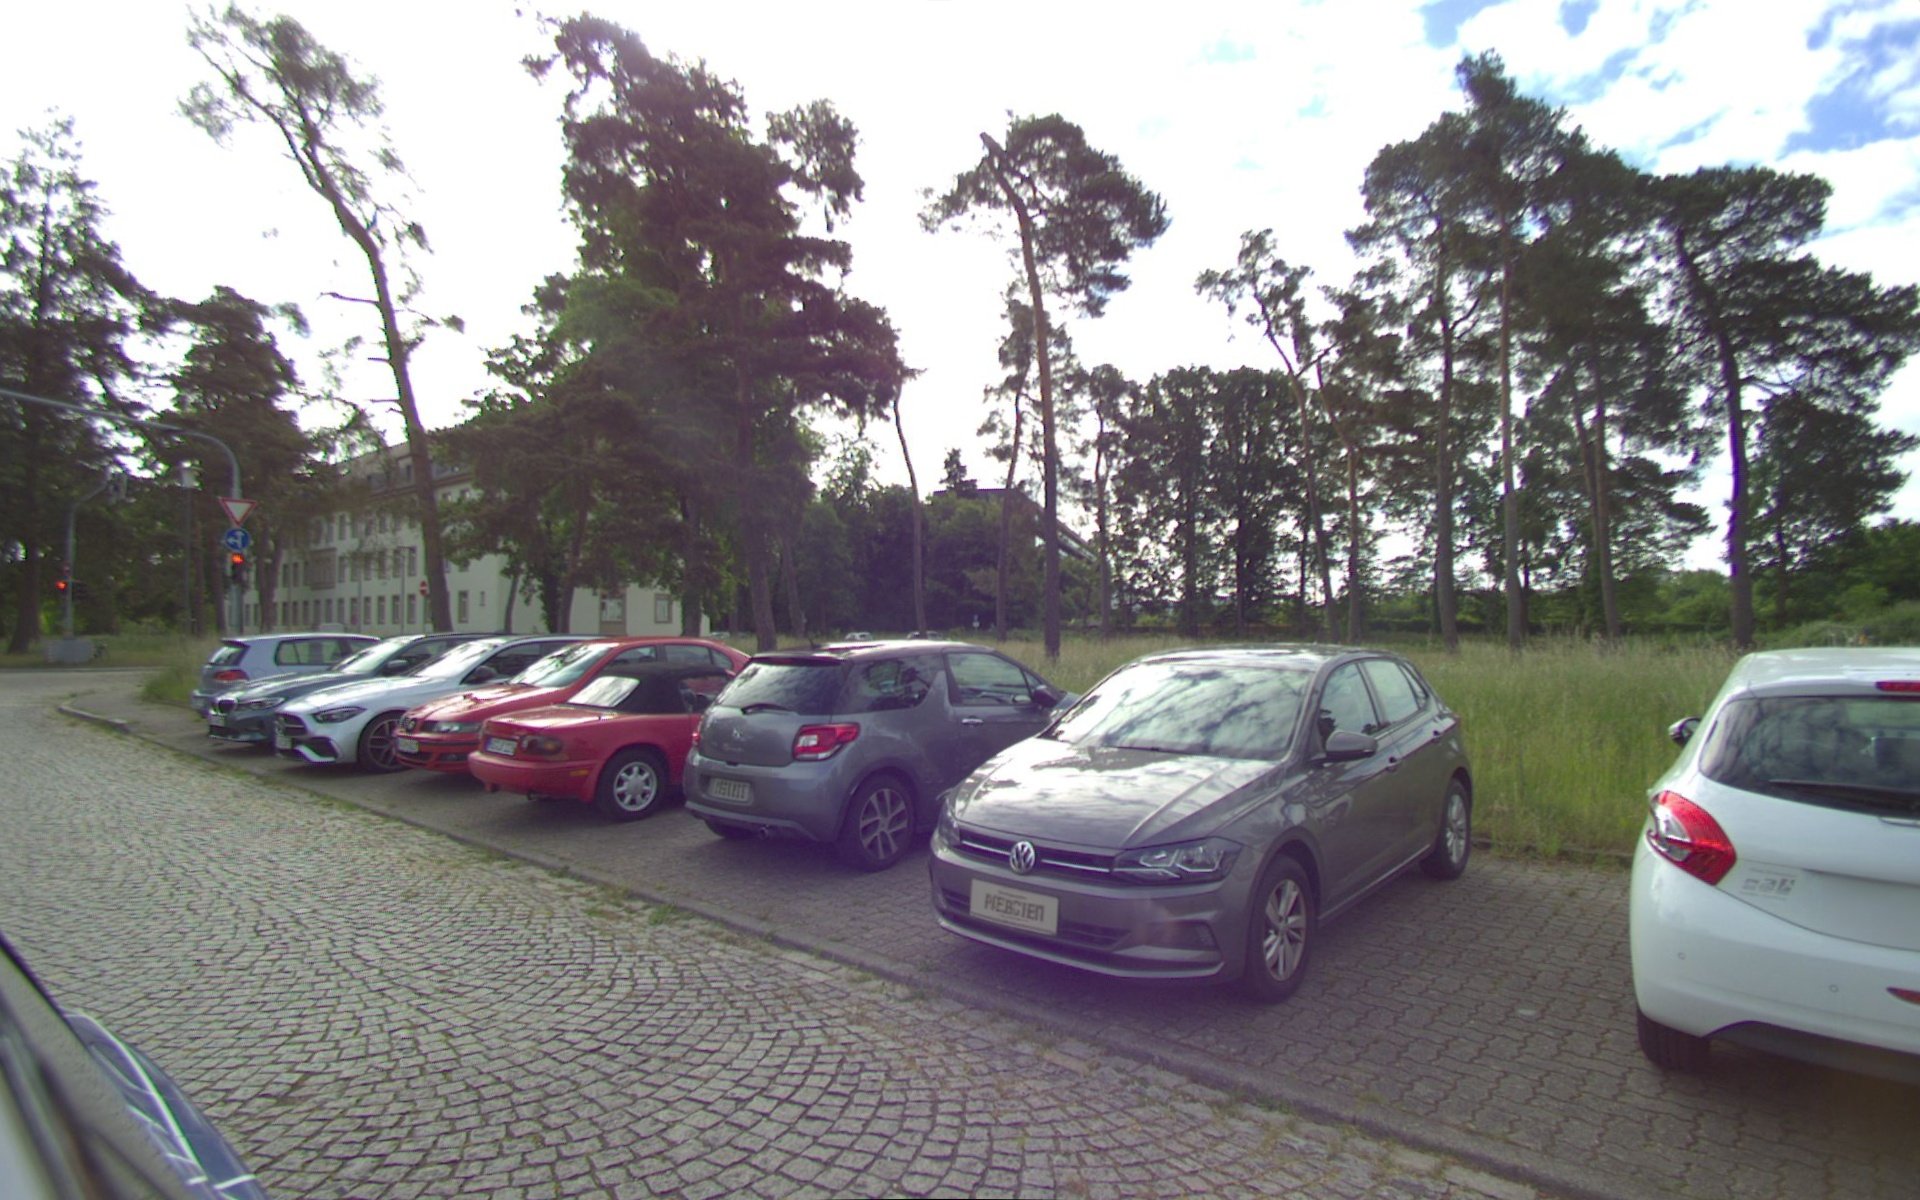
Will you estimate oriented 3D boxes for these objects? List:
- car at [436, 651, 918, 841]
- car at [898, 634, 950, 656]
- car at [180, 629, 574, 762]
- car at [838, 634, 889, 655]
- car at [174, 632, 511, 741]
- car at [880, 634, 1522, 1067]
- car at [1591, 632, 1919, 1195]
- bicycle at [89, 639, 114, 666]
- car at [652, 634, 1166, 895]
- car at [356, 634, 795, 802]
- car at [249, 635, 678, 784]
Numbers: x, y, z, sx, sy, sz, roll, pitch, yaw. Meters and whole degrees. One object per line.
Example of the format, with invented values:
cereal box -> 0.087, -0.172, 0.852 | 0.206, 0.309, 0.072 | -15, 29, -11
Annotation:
car -> -2.423, 1.167, 9.509 | 1.762, 1.293, 4.088 | -2, -2, 40
car -> -2.796, 3.454, 78.400 | 1.717, 1.622, 4.001 | 0, -1, 42
car -> -8.012, 1.197, 14.320 | 1.867, 1.549, 4.459 | -1, -2, 37
car -> -7.951, 3.664, 83.762 | 1.717, 1.622, 3.999 | 0, -1, 44
car -> -9.777, 1.268, 16.298 | 1.826, 1.481, 4.283 | -1, -2, 42
car -> 1.681, 0.959, 5.756 | 1.730, 1.492, 4.258 | -2, -2, 42
car -> 4.067, 0.899, 4.144 | 1.842, 1.513, 3.962 | -2, -2, 42
bicycle -> -35.704, 2.165, 42.074 | 1.414, 1.082, 0.491 | -1, 0, 38
car -> -0.173, 1.031, 8.025 | 1.754, 1.492, 4.045 | -2, -2, 41
car -> -4.062, 1.135, 11.262 | 1.854, 1.466, 4.210 | -2, -2, 40
car -> -5.958, 1.190, 12.591 | 1.948, 1.466, 4.390 | -1, -2, 41
